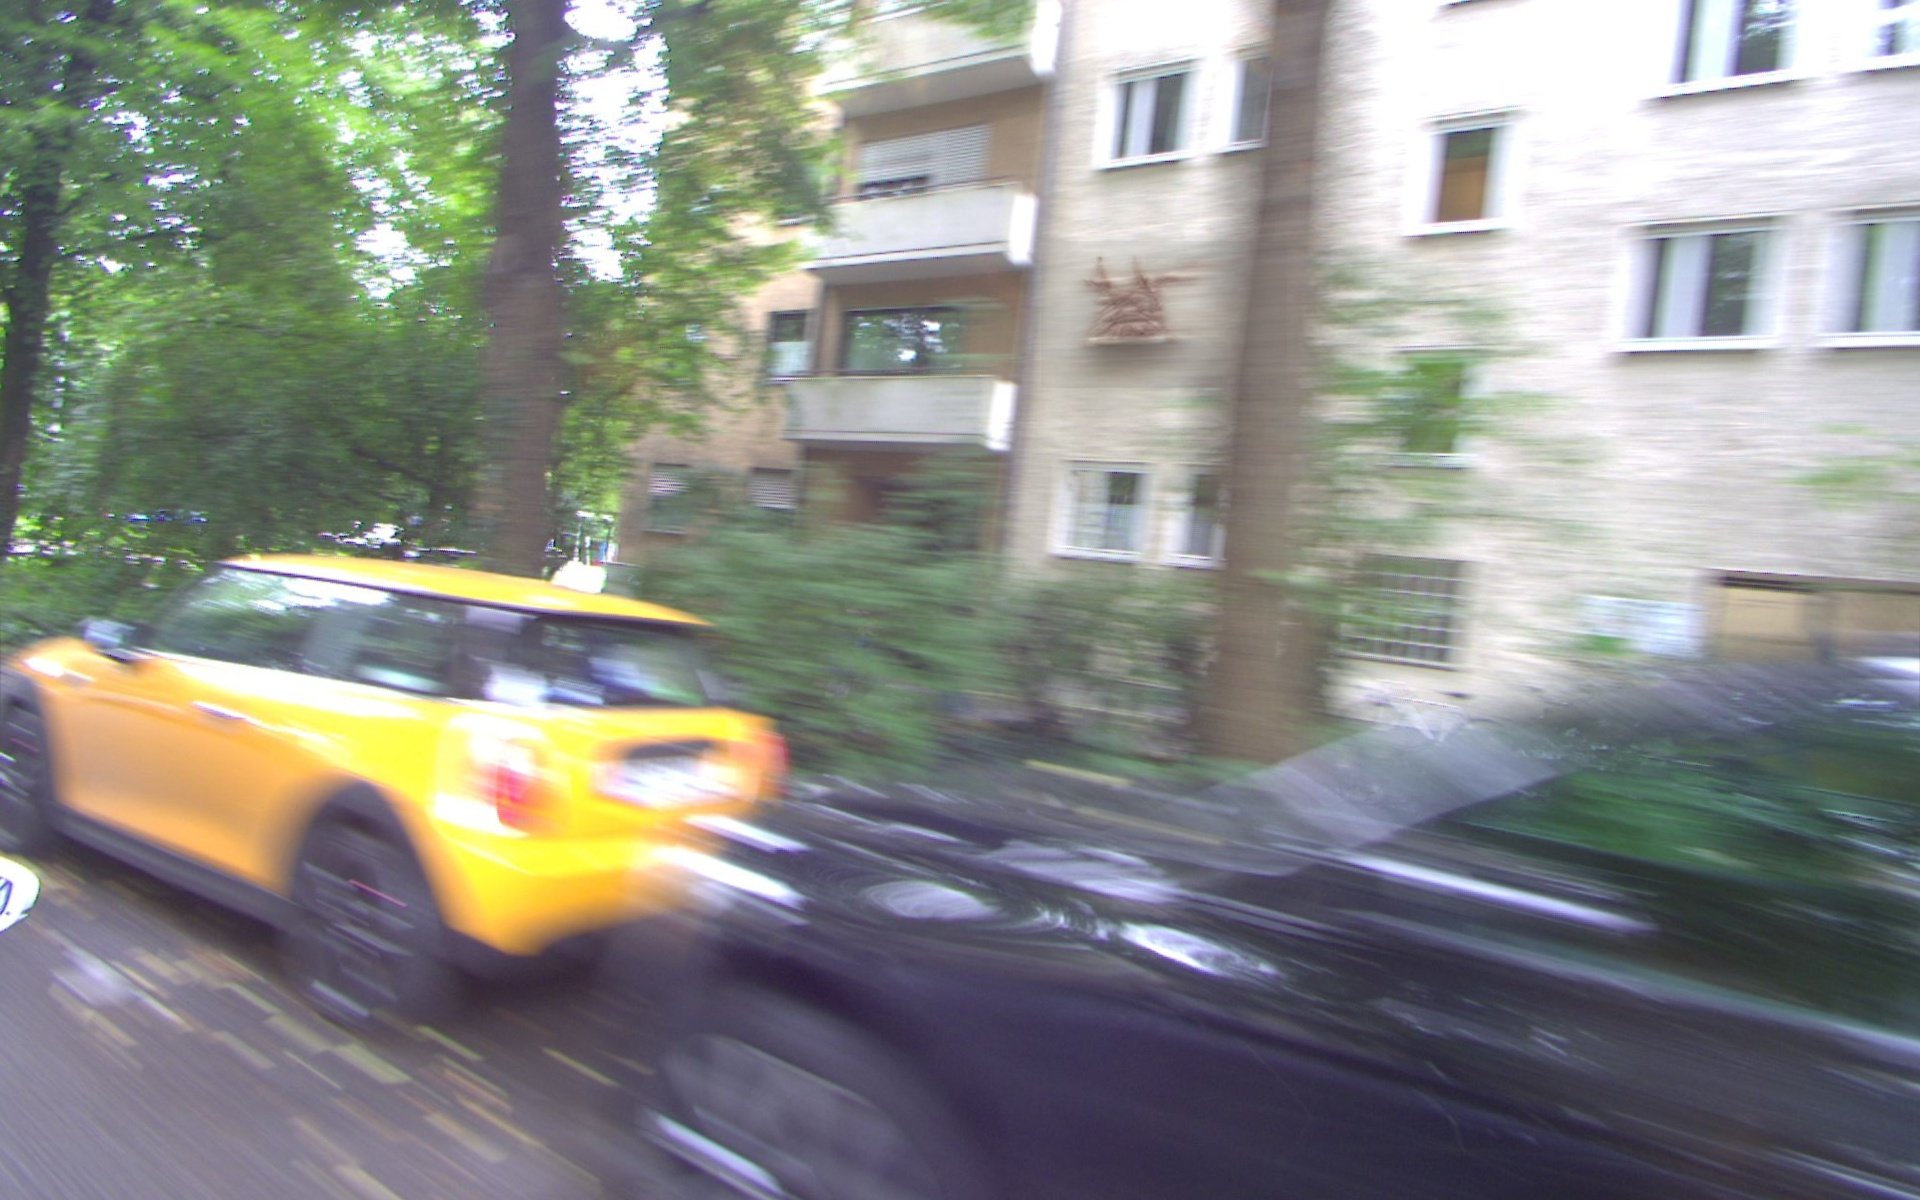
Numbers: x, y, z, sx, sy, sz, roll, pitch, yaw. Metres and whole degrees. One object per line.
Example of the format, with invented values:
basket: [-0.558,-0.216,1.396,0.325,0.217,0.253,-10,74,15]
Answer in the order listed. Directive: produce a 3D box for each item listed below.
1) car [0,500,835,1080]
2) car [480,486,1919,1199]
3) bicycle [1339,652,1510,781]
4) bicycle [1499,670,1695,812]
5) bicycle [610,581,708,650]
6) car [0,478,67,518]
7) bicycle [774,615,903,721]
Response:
car: [-2.602,0.487,4.399,3.715,1.430,1.621,7,0,29]
car: [1.356,0.857,1.836,4.451,1.649,1.833,7,0,32]
bicycle: [5.408,1.327,11.757,1.648,1.239,0.449,7,1,32]
bicycle: [6.873,1.488,10.927,1.648,1.239,0.449,7,1,32]
bicycle: [-5.520,0.280,18.407,1.805,1.057,0.554,7,1,30]
car: [-46.077,-5.041,47.803,1.964,1.585,5.042,7,0,24]
bicycle: [-1.388,0.787,11.880,0.537,1.097,1.834,7,0,24]
